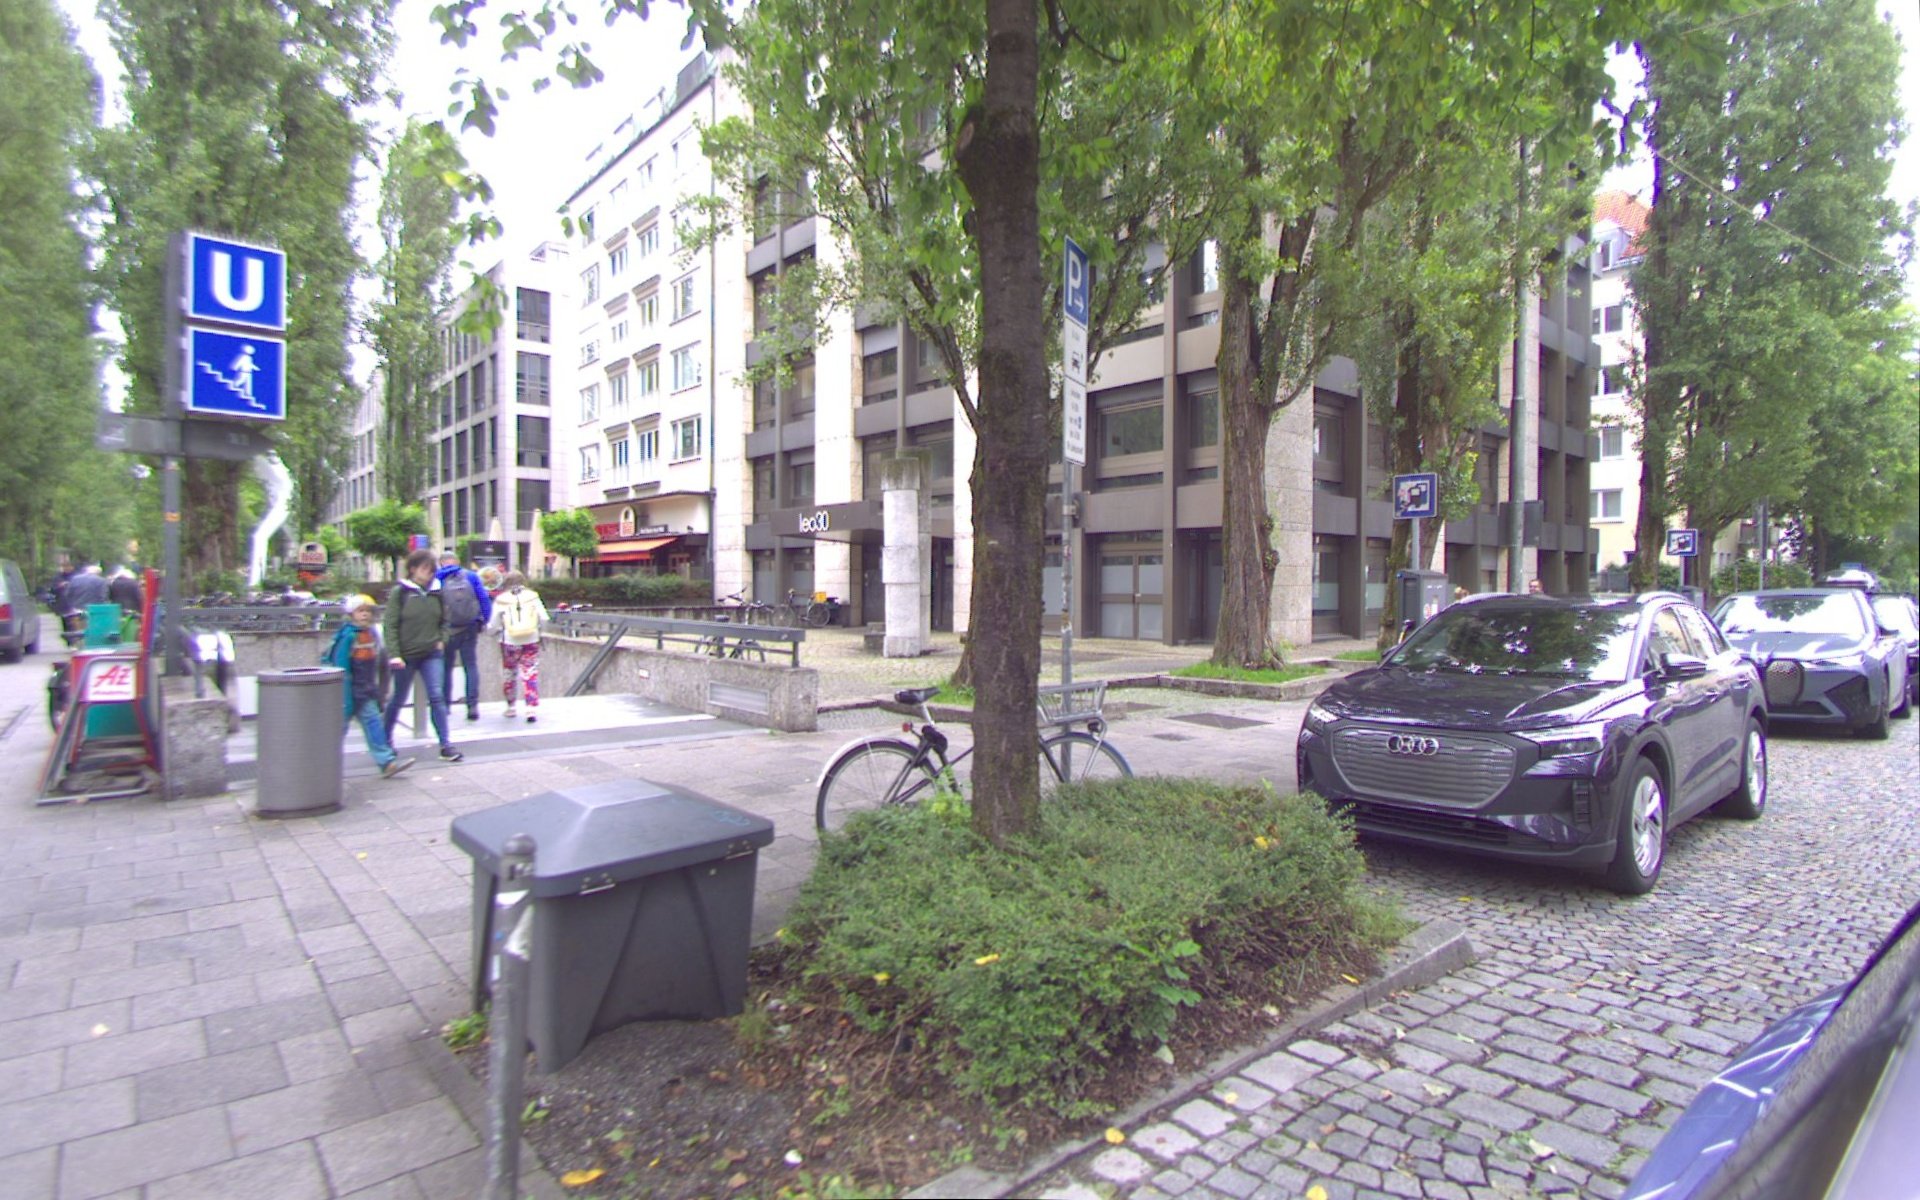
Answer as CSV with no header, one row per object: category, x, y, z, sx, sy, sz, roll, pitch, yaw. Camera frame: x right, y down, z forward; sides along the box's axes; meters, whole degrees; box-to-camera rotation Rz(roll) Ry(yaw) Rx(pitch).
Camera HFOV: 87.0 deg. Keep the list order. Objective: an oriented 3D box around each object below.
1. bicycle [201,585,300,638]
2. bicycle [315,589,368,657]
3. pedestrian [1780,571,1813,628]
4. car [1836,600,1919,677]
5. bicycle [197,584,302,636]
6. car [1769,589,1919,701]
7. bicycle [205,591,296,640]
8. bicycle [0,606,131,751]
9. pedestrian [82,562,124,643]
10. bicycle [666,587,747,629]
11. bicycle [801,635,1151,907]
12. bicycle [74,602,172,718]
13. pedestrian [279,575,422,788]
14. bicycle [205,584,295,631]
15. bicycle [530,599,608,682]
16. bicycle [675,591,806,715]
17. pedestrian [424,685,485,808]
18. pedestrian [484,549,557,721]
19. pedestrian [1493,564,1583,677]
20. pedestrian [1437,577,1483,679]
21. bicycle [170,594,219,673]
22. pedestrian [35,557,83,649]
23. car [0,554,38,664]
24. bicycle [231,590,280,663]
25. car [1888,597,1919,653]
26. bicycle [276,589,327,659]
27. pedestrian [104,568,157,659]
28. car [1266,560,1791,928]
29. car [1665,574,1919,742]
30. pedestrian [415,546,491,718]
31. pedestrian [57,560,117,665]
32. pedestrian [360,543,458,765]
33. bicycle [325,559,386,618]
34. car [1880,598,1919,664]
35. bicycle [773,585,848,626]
bicycle,-16.276,0.253,23.249,1.835,1.174,0.587,0,0,-39
bicycle,-11.228,0.385,18.349,0.577,1.174,1.867,0,1,-39
pedestrian,23.249,-0.031,28.134,0.697,1.556,0.644,0,0,-44
car,19.357,0.725,20.599,4.133,1.408,1.721,-1,-2,-41
bicycle,-16.634,0.212,23.725,1.995,1.174,0.587,0,0,-39
car,14.813,0.626,16.443,4.268,1.603,1.996,0,0,-43
bicycle,-17.703,0.358,25.257,1.835,1.174,0.587,0,1,-39
bicycle,-8.294,0.661,9.385,0.576,1.174,1.872,0,1,-28
pedestrian,-20.216,0.055,23.882,0.685,1.890,0.718,0,0,-35
bicycle,-7.220,0.207,28.893,2.206,1.170,0.647,0,1,-41
bicycle,0.131,0.789,5.220,1.839,1.151,0.476,0,0,-32
bicycle,-9.369,0.621,11.303,1.862,1.174,0.579,1,1,42
pedestrian,-4.382,0.538,7.331,0.801,1.437,0.772,0,1,-25
bicycle,-18.055,0.182,25.749,1.835,1.174,0.587,0,0,-39
bicycle,-6.002,0.579,15.469,0.577,1.174,1.867,0,1,-39
bicycle,-2.550,0.552,11.604,0.709,1.292,1.867,0,1,-39
pedestrian,-7.827,2.239,15.666,0.700,1.746,0.669,0,0,-41
pedestrian,-4.572,0.340,10.511,0.598,1.701,0.846,0,0,-31
pedestrian,9.245,0.310,16.200,0.893,1.735,0.871,0,0,-21
pedestrian,8.311,0.453,16.824,0.558,1.649,0.490,0,0,-38
bicycle,-12.268,0.494,16.202,0.577,1.174,1.982,0,1,-39
pedestrian,-18.537,0.050,20.831,0.687,1.864,0.706,0,0,-37
car,-18.844,0.123,19.164,1.782,1.920,5.197,0,1,-39
bicycle,-12.141,0.427,17.419,0.577,1.174,1.867,0,1,-39
car,26.335,0.629,26.954,3.807,1.405,1.996,-1,0,-42
bicycle,-11.704,0.389,17.955,0.577,1.174,1.867,0,1,-39
pedestrian,-15.207,0.235,18.564,0.685,1.626,0.833,0,0,-35
car,4.024,0.657,6.852,4.130,1.722,1.923,0,0,-43
car,10.619,0.576,12.657,4.594,1.722,2.015,-1,0,-43
pedestrian,-5.313,0.311,10.587,0.651,1.717,0.807,0,0,-31
pedestrian,-15.642,0.206,18.148,0.736,1.826,0.843,0,0,-35
pedestrian,-4.488,0.411,8.285,0.650,1.722,0.692,0,0,-25
bicycle,-15.062,-0.267,25.206,1.857,1.175,0.580,-11,-6,36
car,22.809,0.681,23.622,3.501,1.449,1.602,0,-1,-42
bicycle,-4.407,0.149,29.960,2.206,1.170,0.647,0,1,-41
